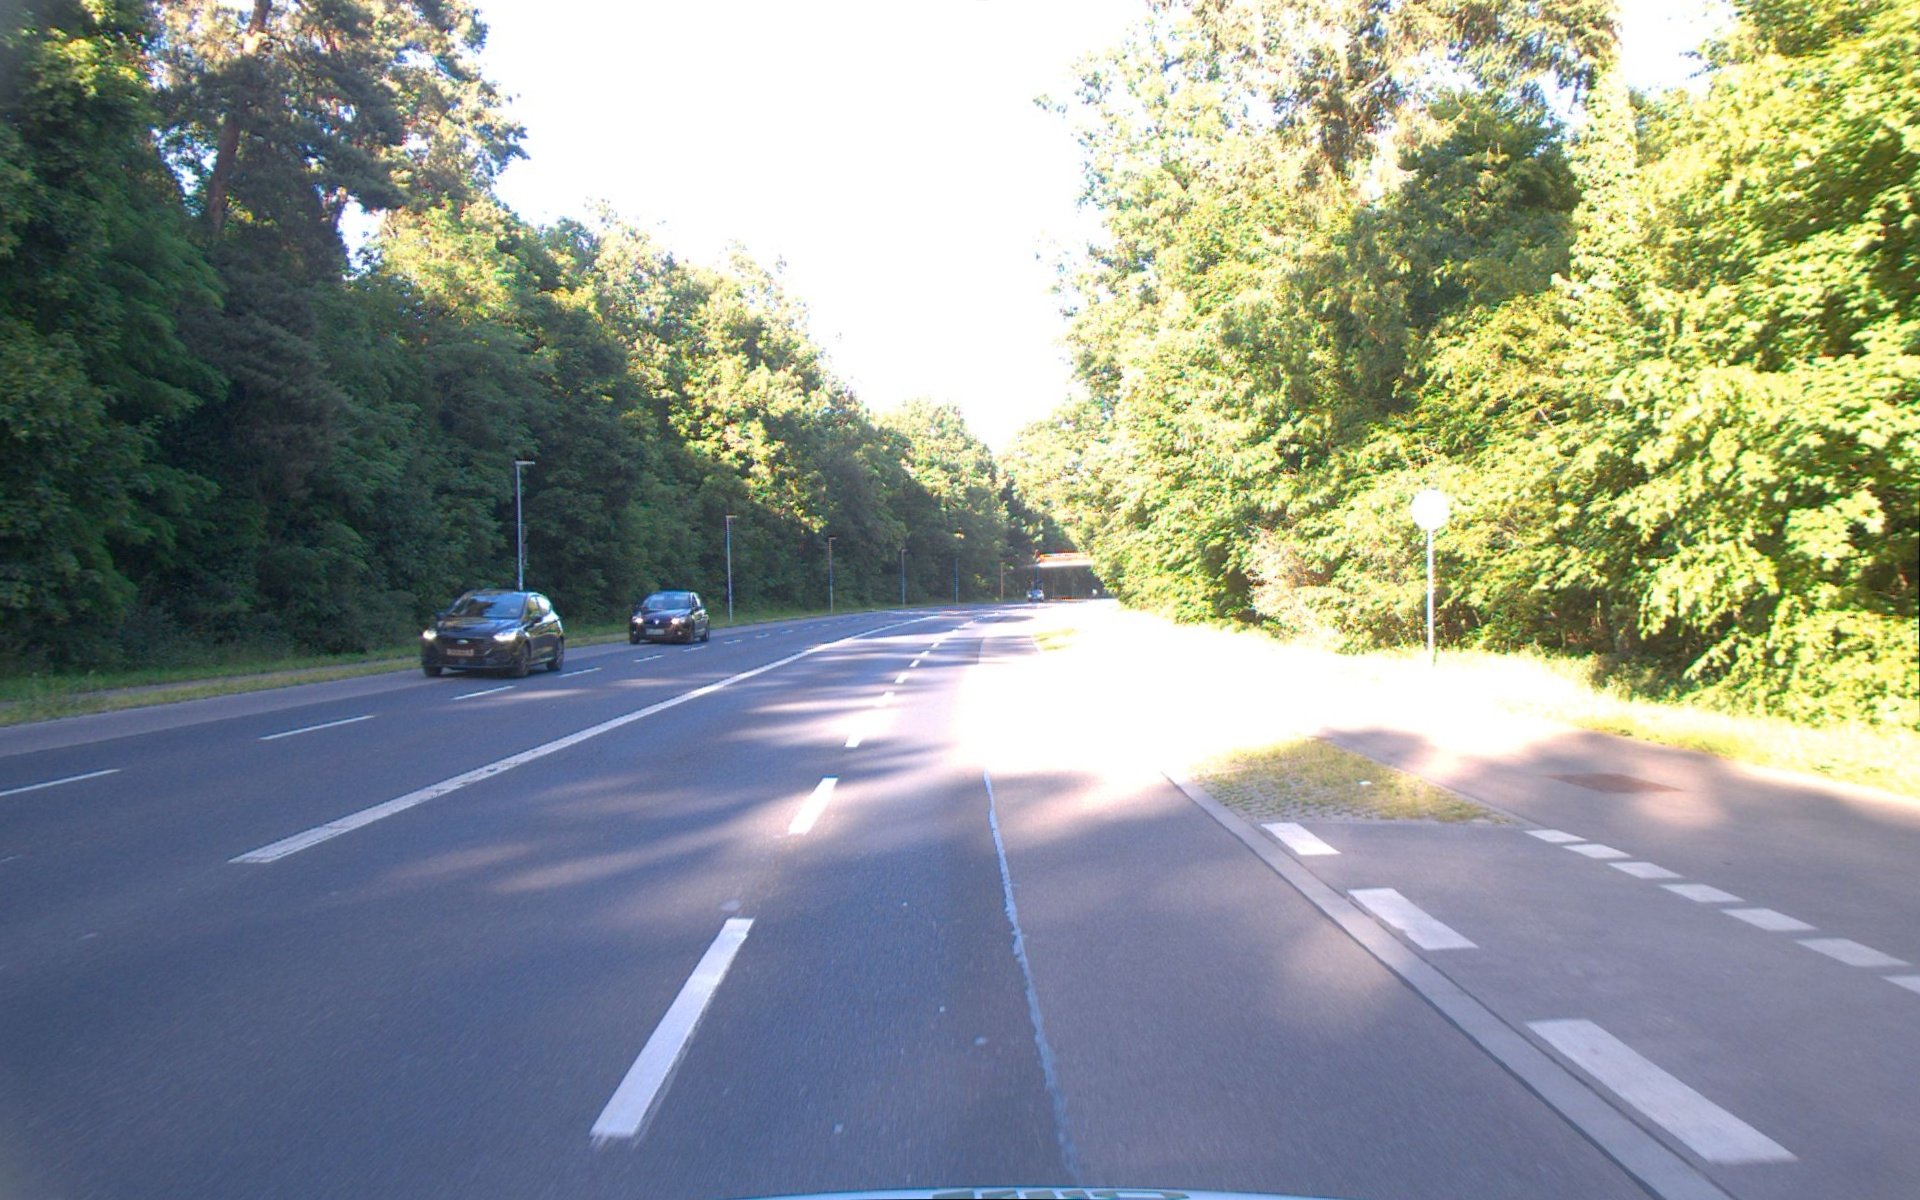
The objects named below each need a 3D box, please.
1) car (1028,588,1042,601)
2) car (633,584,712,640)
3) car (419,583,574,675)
[{"bbox_3d":[10.346,-0.745,227.067,1.769,1.692,4.524,0,1,4],"label":"car"},{"bbox_3d":[-8.079,0.333,46.772,1.624,1.506,4.171,0,0,-2],"label":"car"},{"bbox_3d":[-8.113,0.459,29.264,1.704,1.483,3.998,1,0,-2],"label":"car"}]
